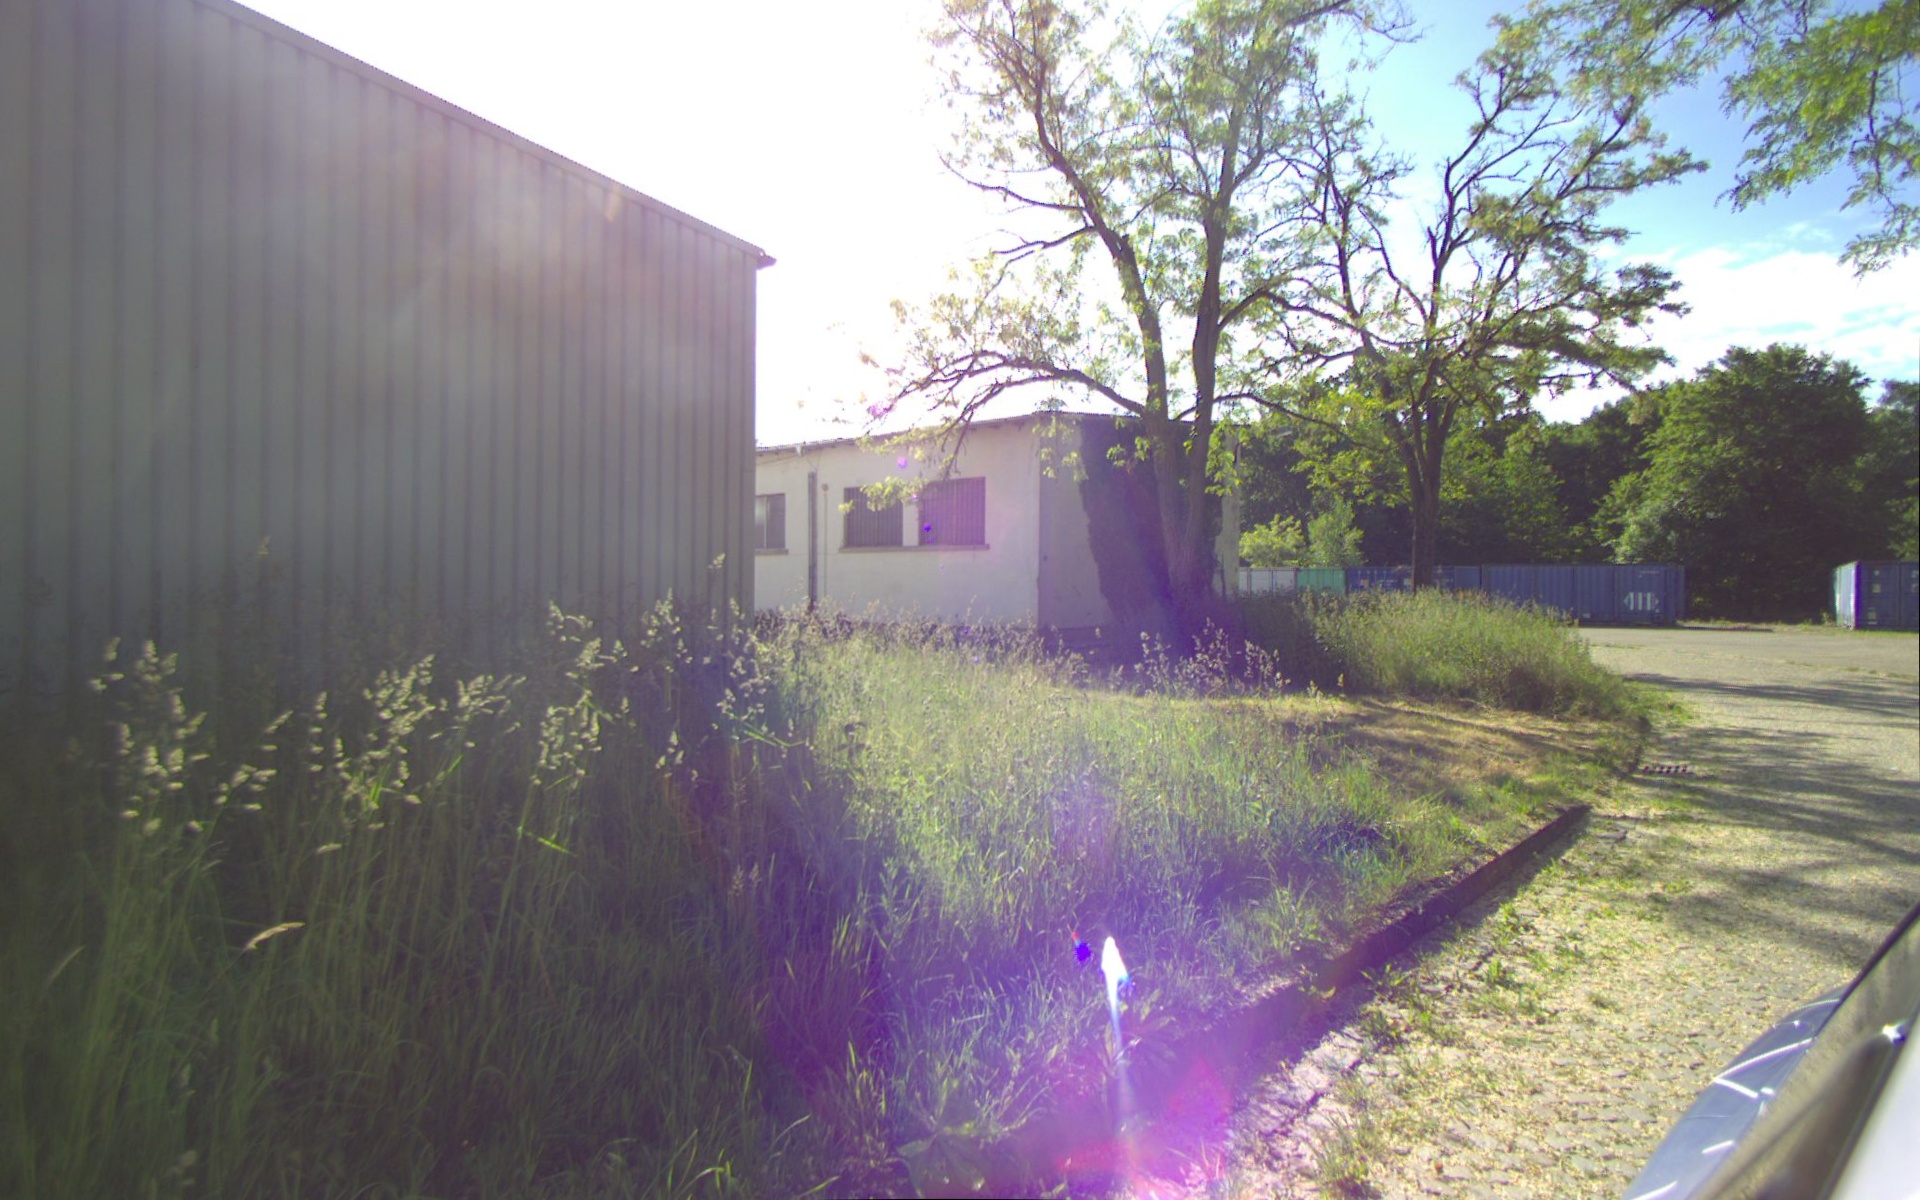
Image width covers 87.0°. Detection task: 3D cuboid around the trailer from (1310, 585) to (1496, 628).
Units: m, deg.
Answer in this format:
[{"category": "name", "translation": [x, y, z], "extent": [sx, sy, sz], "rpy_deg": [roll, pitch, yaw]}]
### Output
[{"category": "trailer", "translation": [17.880, 0.219, 41.035], "extent": [6.460, 1.536, 2.816], "rpy_deg": [0, 2, 39]}]
